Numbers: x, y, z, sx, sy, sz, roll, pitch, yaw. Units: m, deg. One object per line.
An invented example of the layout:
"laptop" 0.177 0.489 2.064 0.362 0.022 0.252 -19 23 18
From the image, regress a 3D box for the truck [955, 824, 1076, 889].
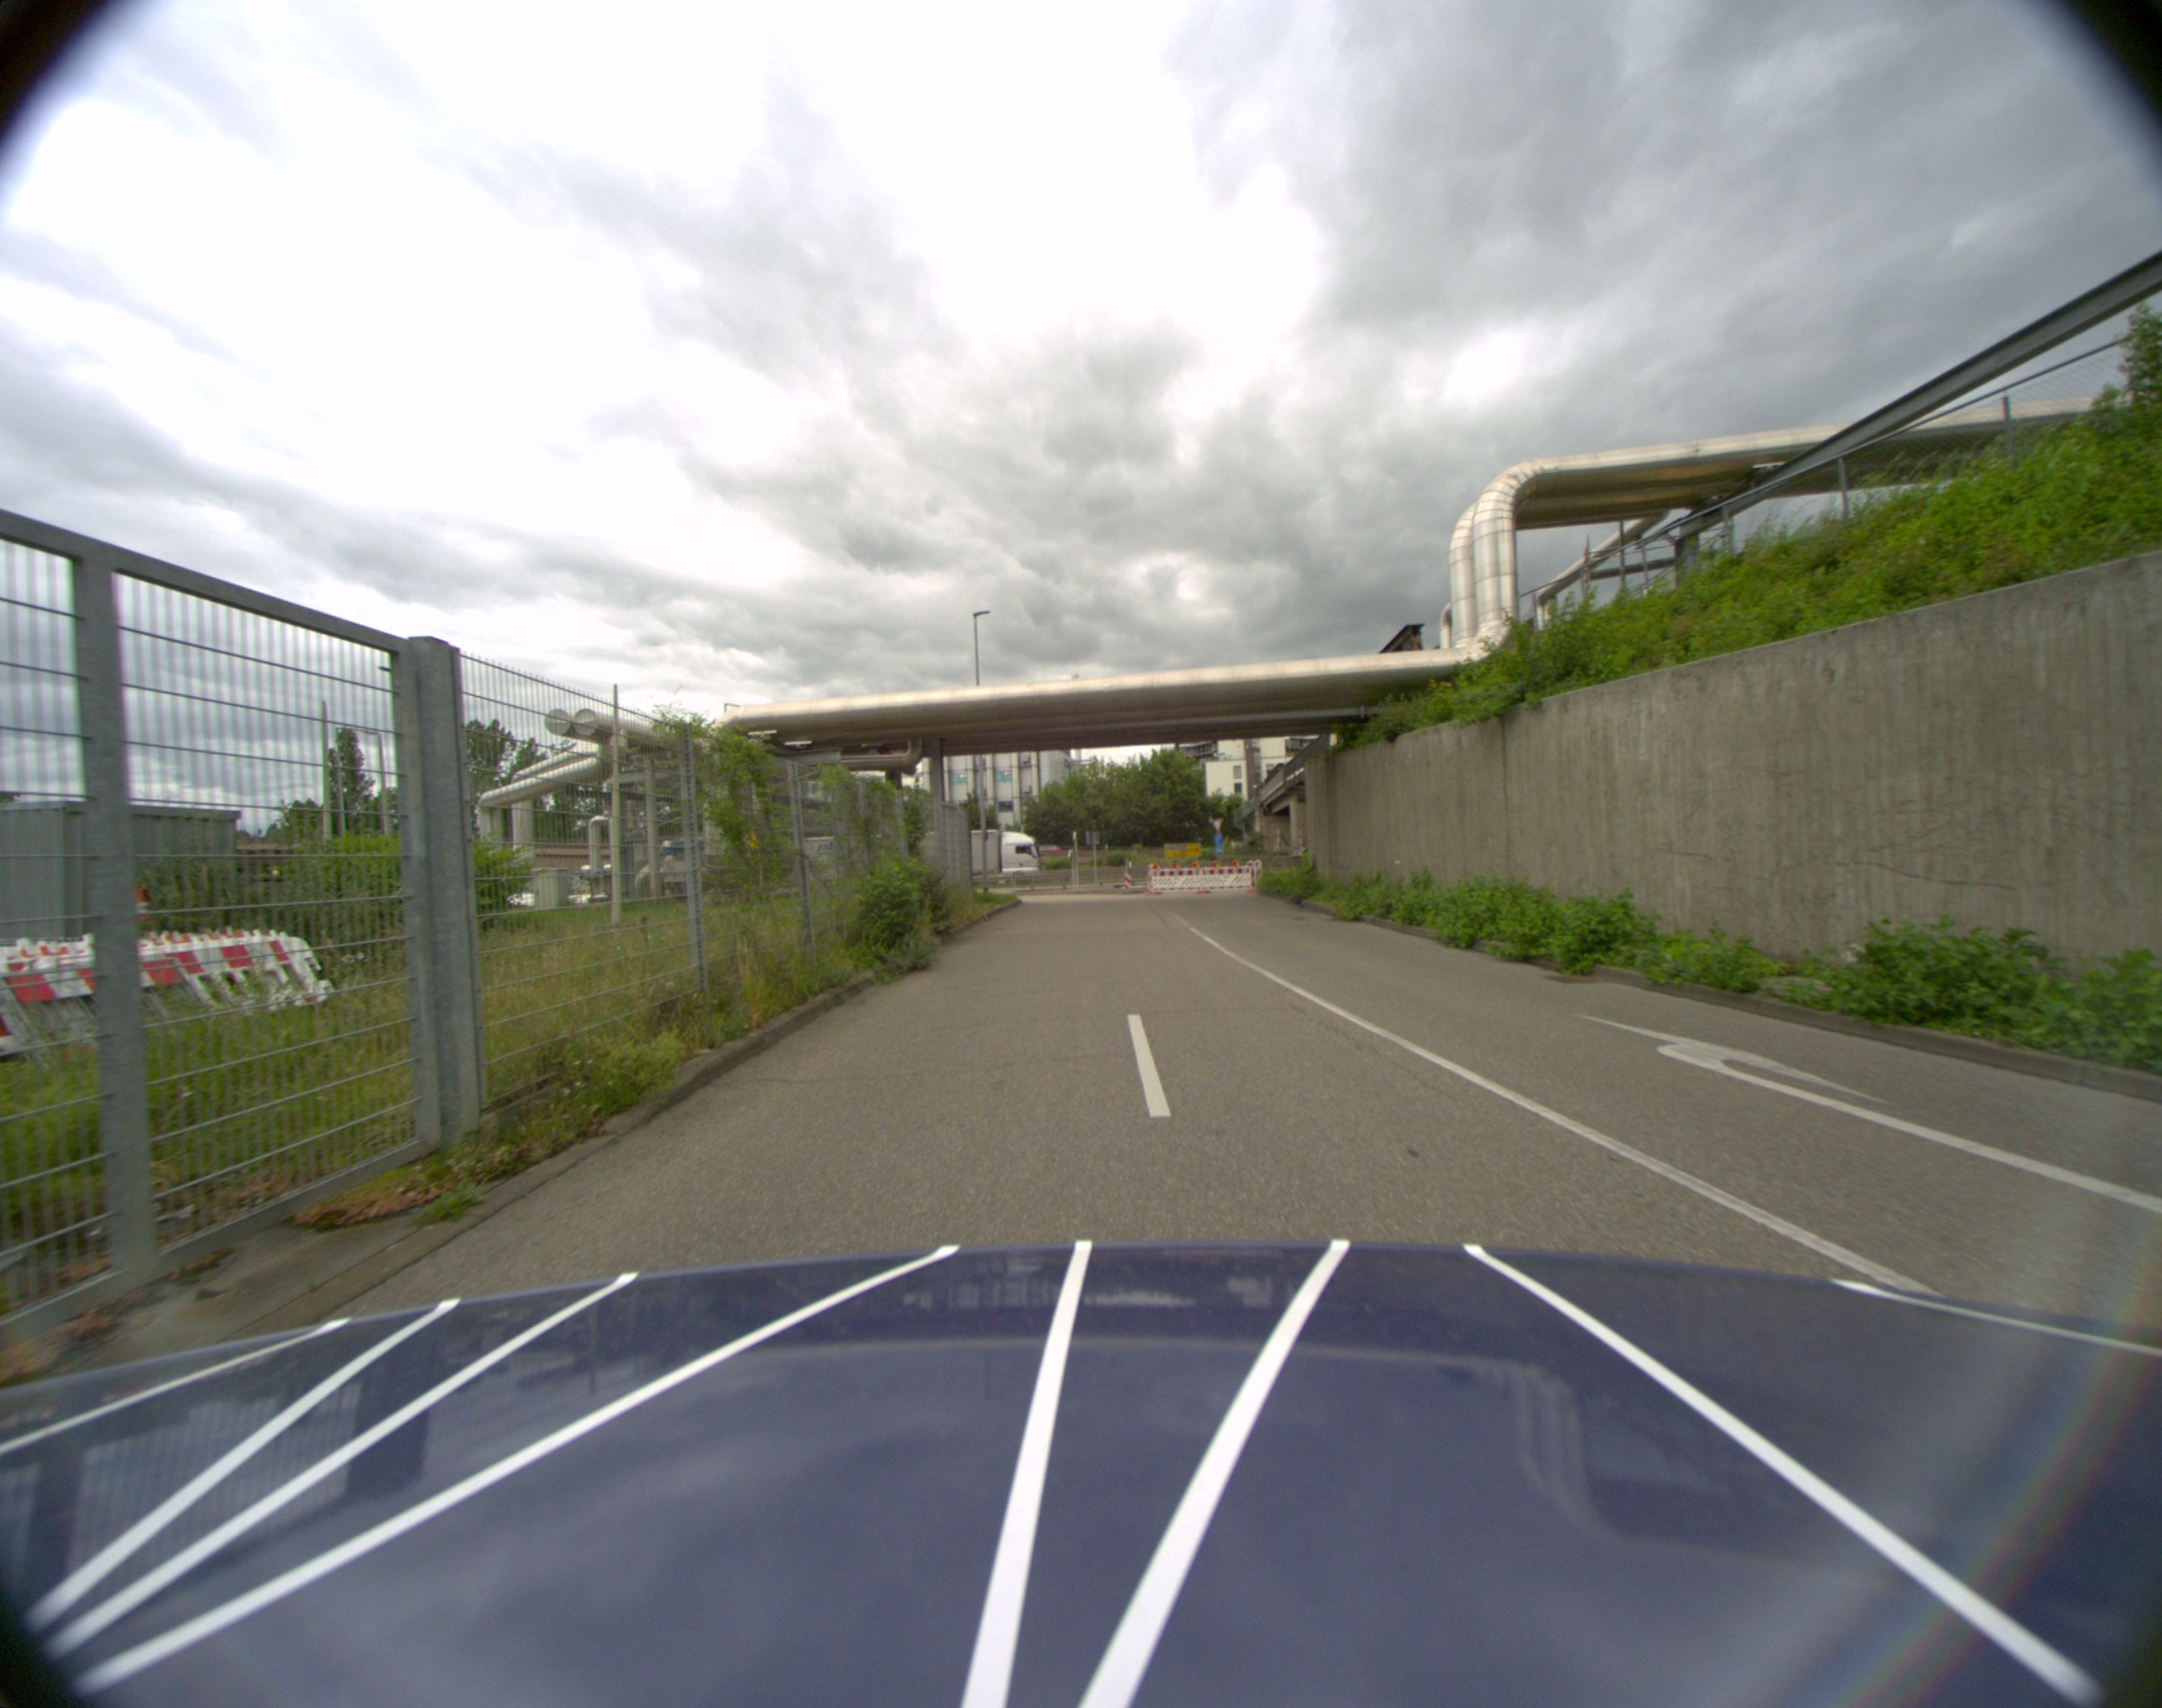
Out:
"truck" -4.518 0.141 53.976 8.135 4.108 3.163 -3 3 -1

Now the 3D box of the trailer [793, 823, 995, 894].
"trailer" -13.024 0.266 53.792 13.254 4.300 3.165 -3 2 -1
